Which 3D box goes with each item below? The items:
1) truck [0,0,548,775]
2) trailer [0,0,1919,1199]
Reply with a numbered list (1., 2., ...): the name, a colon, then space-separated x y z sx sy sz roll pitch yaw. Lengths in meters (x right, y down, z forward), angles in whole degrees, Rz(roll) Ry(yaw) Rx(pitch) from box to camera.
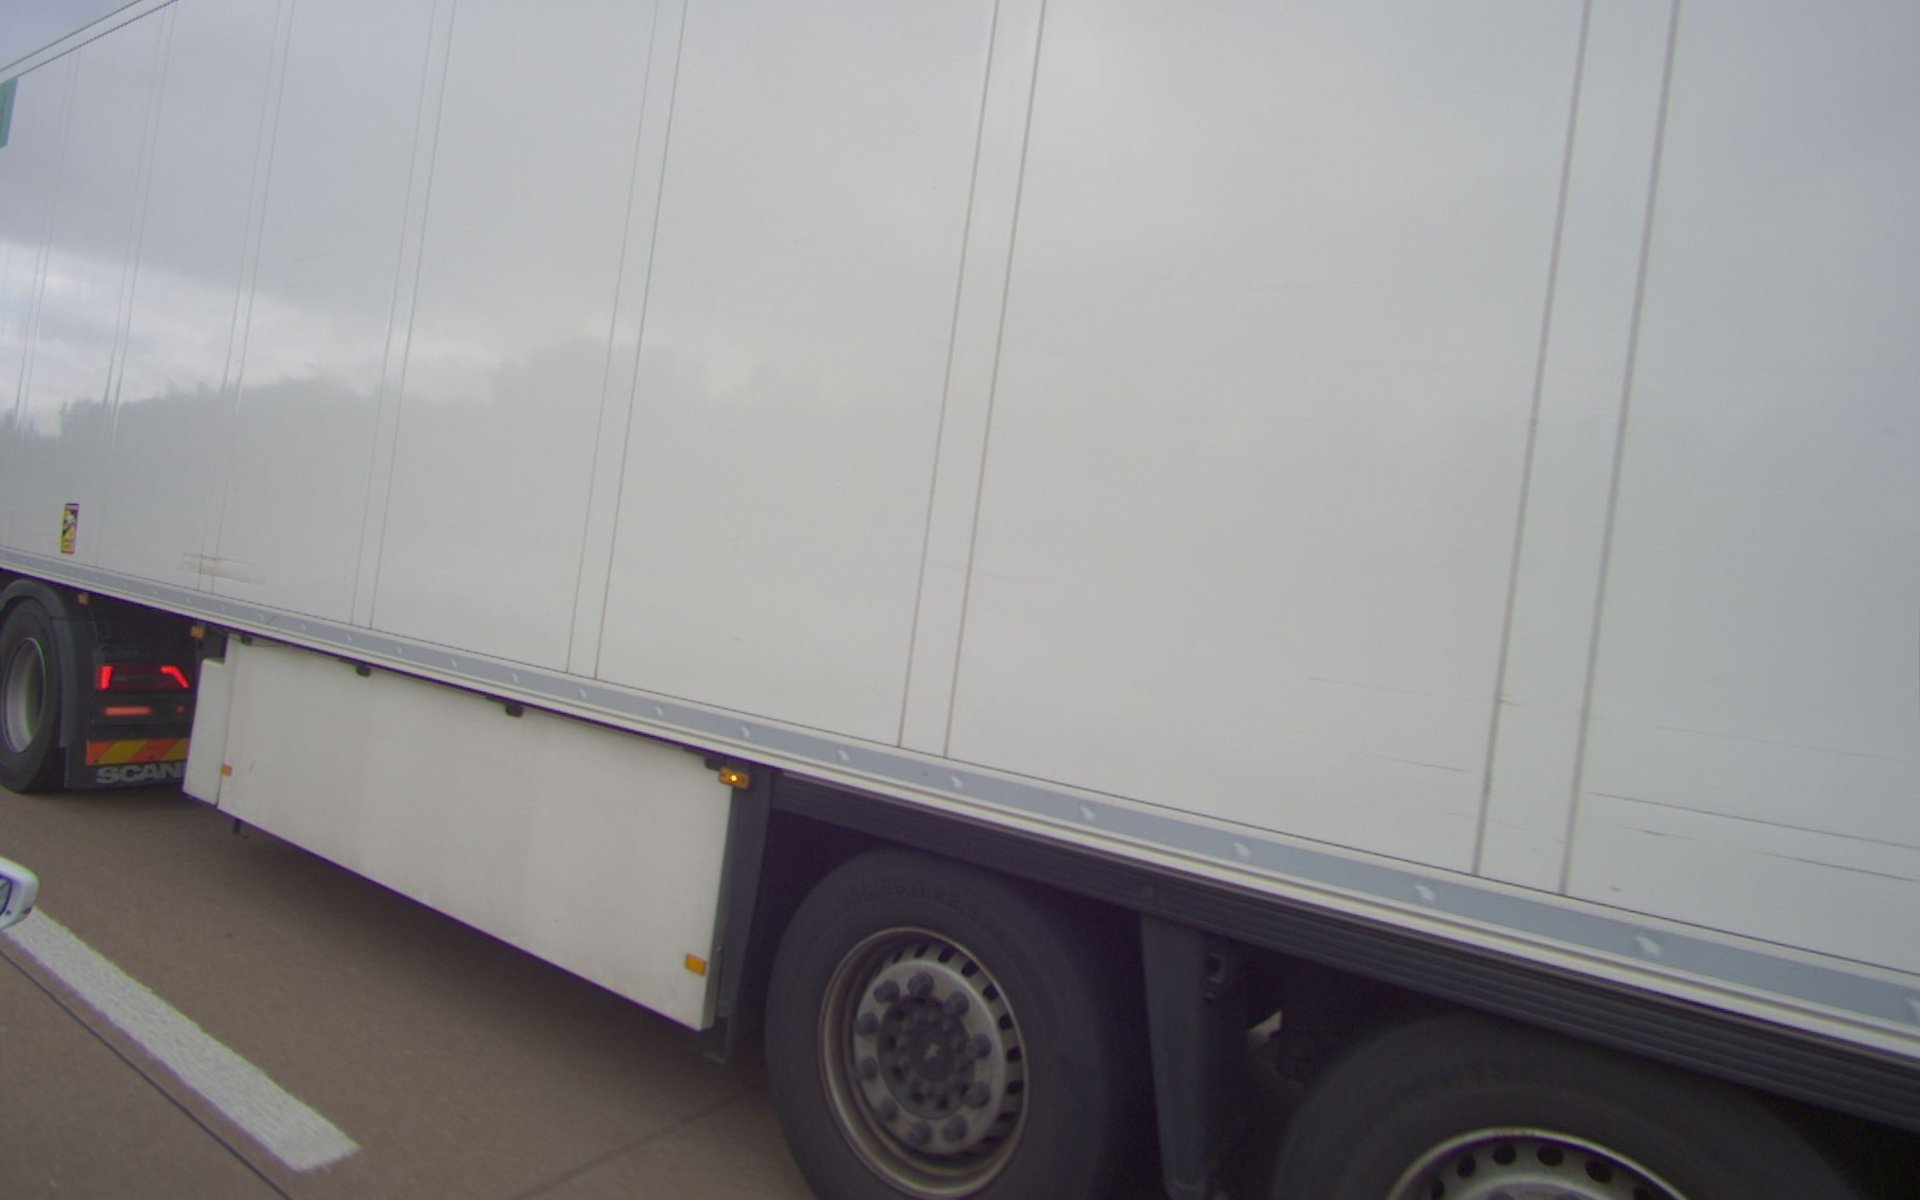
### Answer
1. truck: -6.396 -1.365 7.854 5.246 4.345 2.926 7 -1 31
2. trailer: -0.480 -0.643 4.199 13.387 4.345 2.926 7 -1 32
